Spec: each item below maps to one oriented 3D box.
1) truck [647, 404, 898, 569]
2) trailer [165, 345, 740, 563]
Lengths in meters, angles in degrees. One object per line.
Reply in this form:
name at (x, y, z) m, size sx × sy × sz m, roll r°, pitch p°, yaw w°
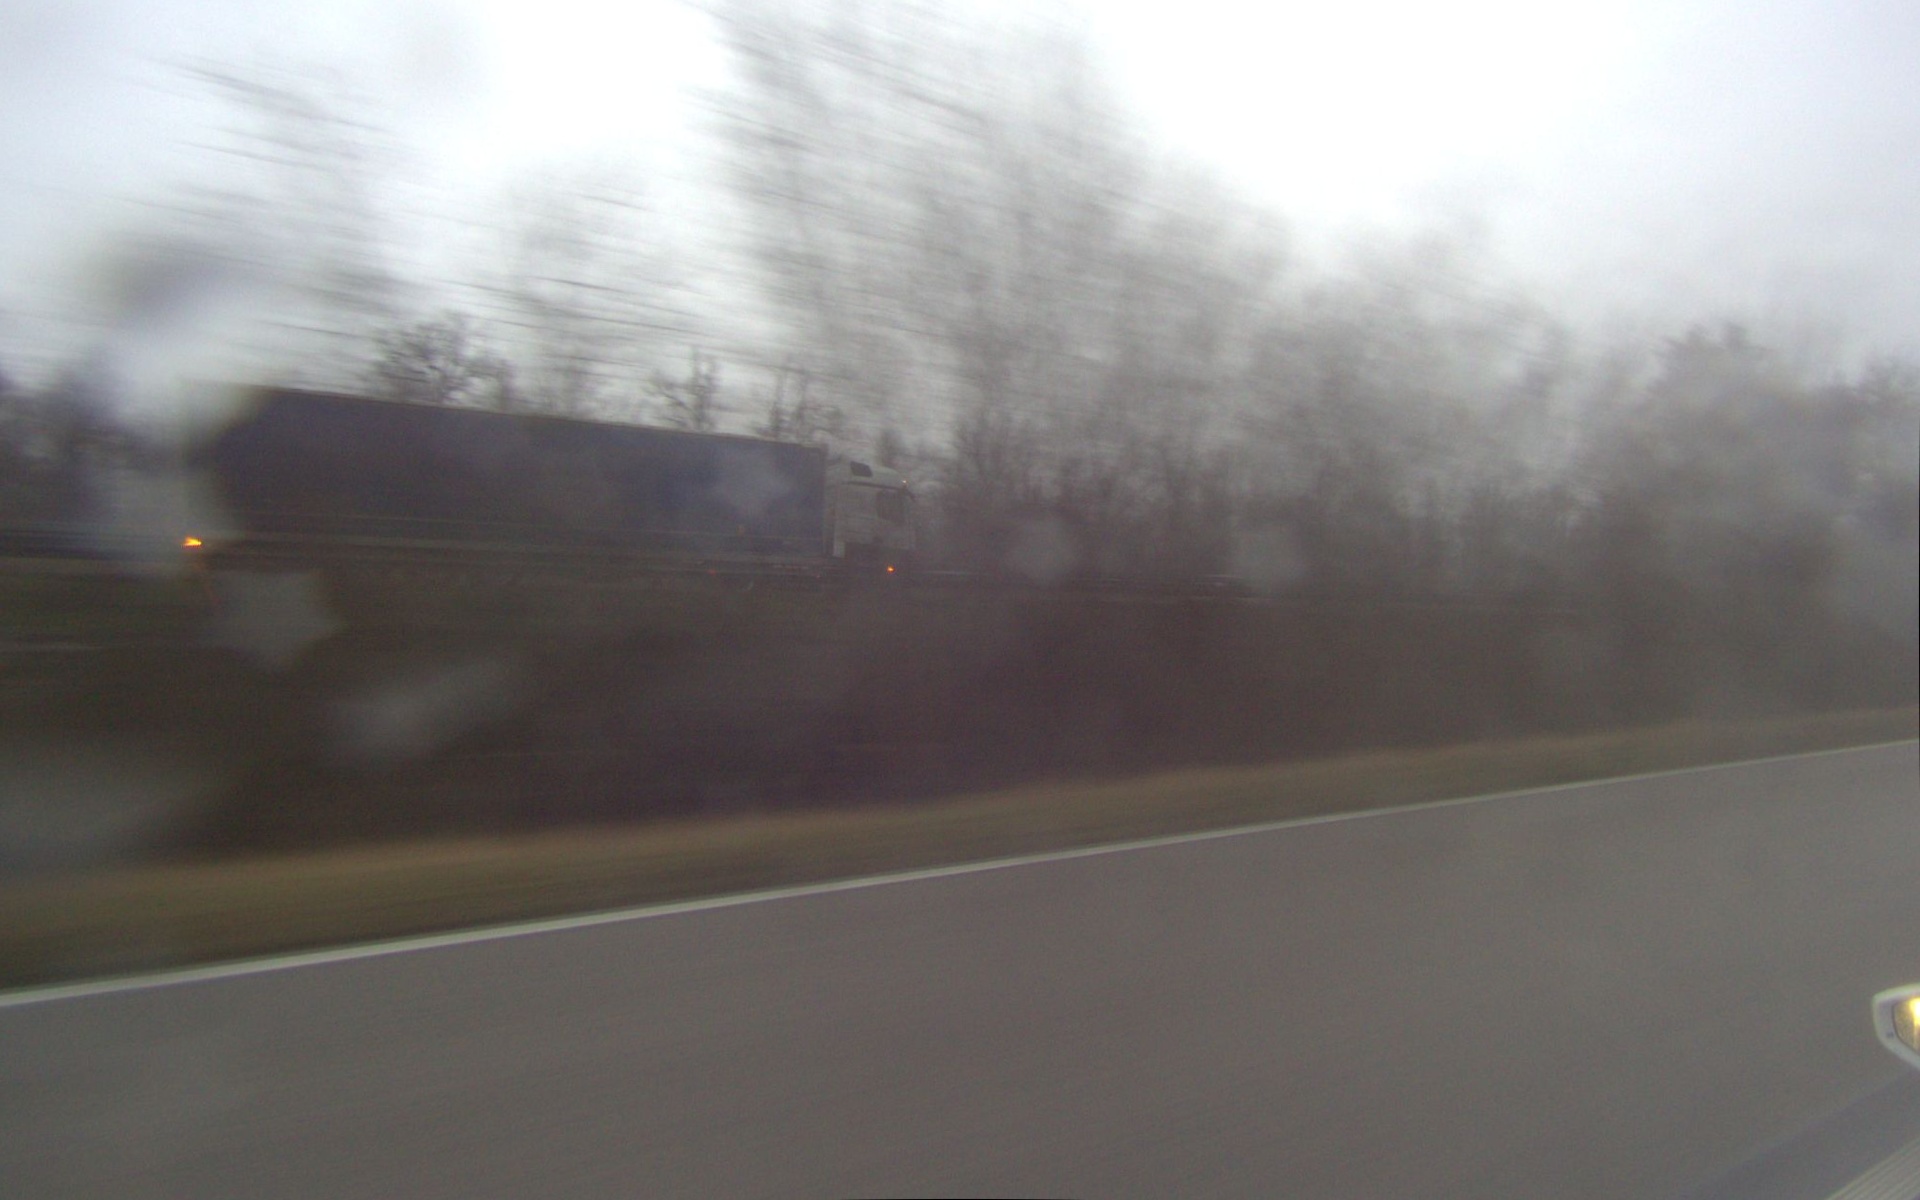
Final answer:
truck at (-5.006, -2.823, 26.972) m, size 5.997 × 3.680 × 2.977 m, roll 1°, pitch 0°, yaw -31°
trailer at (-11.041, -2.932, 23.338) m, size 11.255 × 3.682 × 2.984 m, roll 1°, pitch 0°, yaw -31°
